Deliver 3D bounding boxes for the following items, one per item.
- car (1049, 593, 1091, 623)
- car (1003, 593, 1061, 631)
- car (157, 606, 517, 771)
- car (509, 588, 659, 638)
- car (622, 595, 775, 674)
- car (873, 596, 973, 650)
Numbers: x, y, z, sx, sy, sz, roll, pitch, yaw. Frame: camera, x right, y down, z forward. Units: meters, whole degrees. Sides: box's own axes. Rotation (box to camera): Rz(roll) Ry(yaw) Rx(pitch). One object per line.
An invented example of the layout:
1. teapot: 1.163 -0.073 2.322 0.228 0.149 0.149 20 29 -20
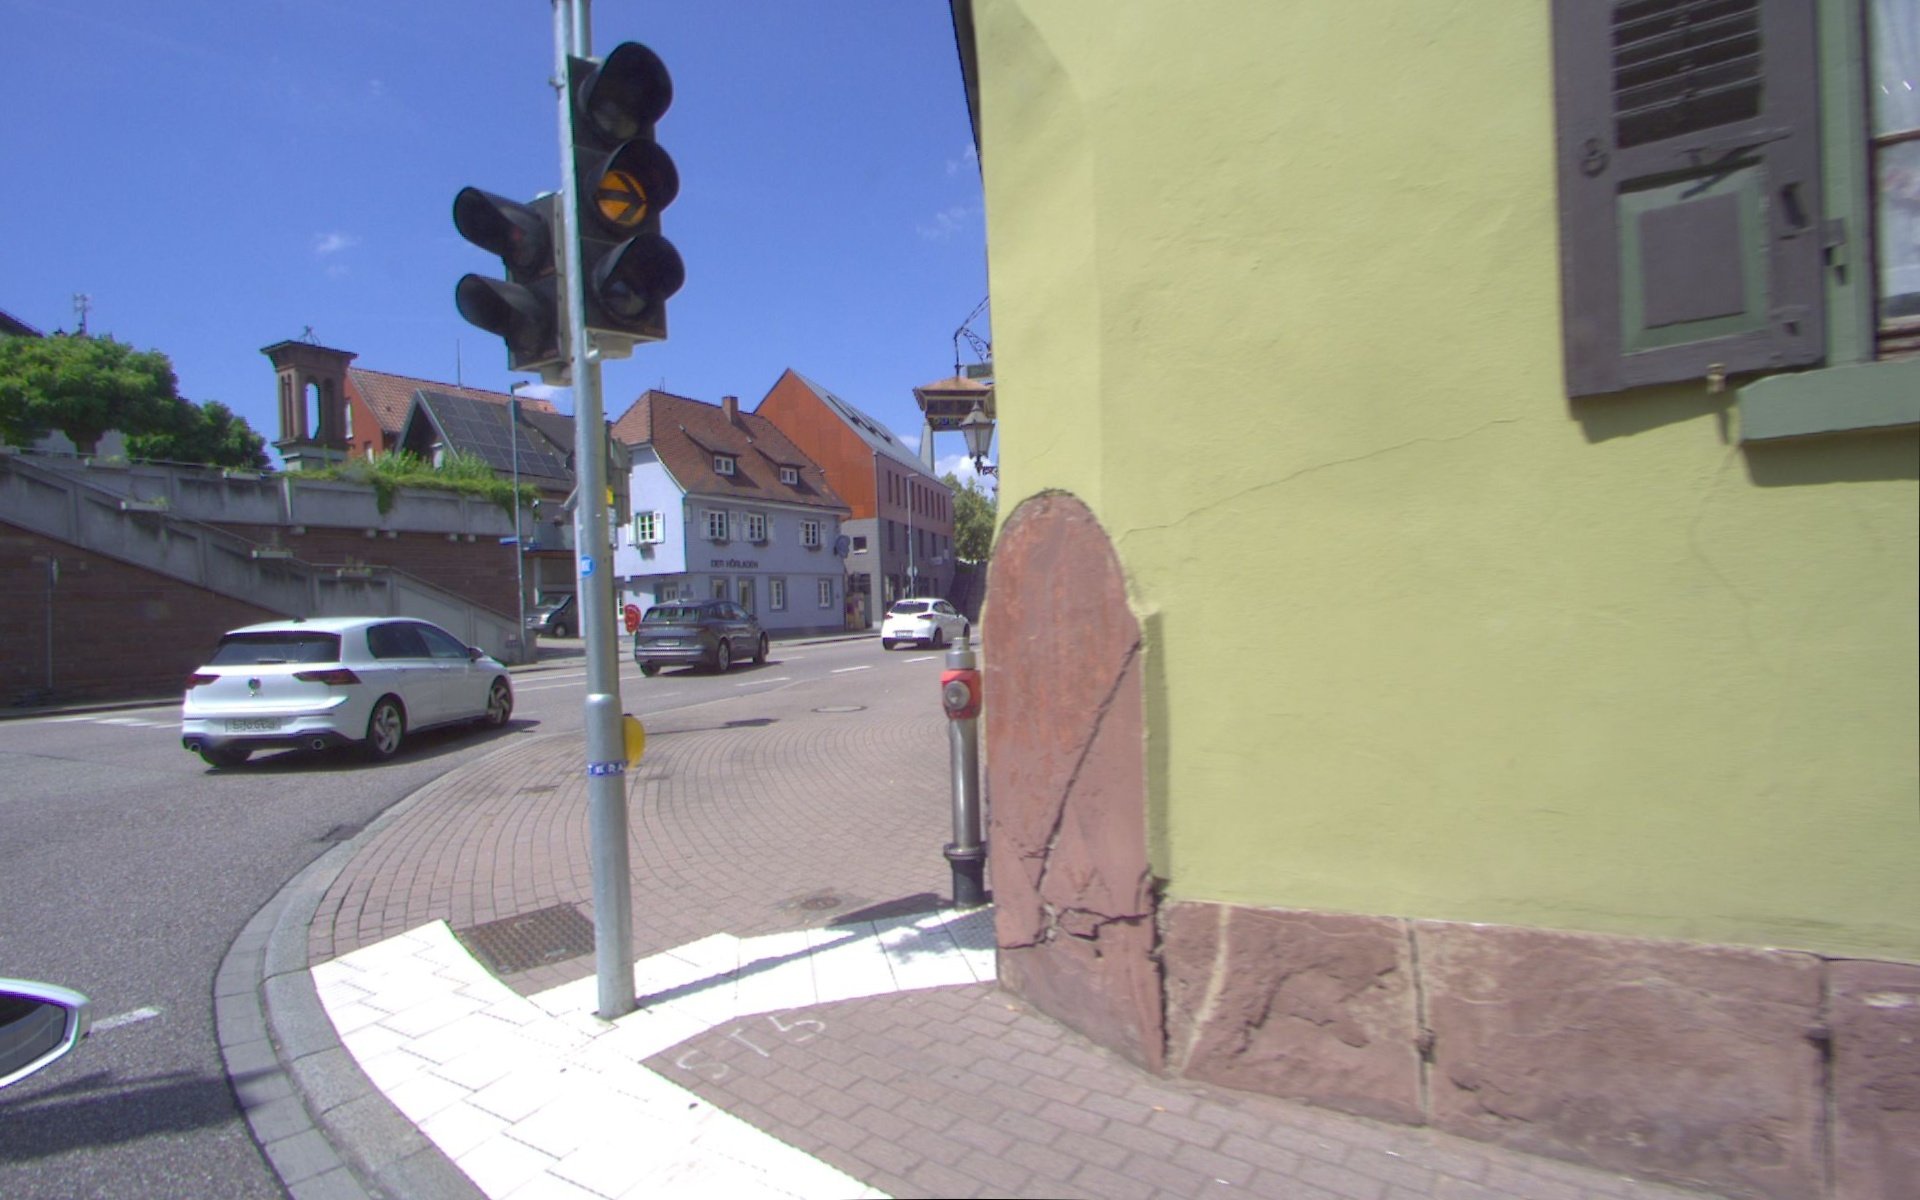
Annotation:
1. car: 5.727 0.413 51.716 1.755 1.477 3.860 -2 0 12
2. car: 3.019 0.489 41.376 1.755 1.477 3.859 -2 0 13
3. car: -6.625 0.837 11.219 1.754 1.477 3.863 -1 0 -3
4. car: -17.116 0.578 45.894 2.494 2.040 5.952 -3 -1 38
5. car: -5.797 0.731 22.760 1.918 1.603 4.325 -1 0 6
6. car: -1.033 0.655 30.101 1.757 1.477 3.856 -2 0 18
